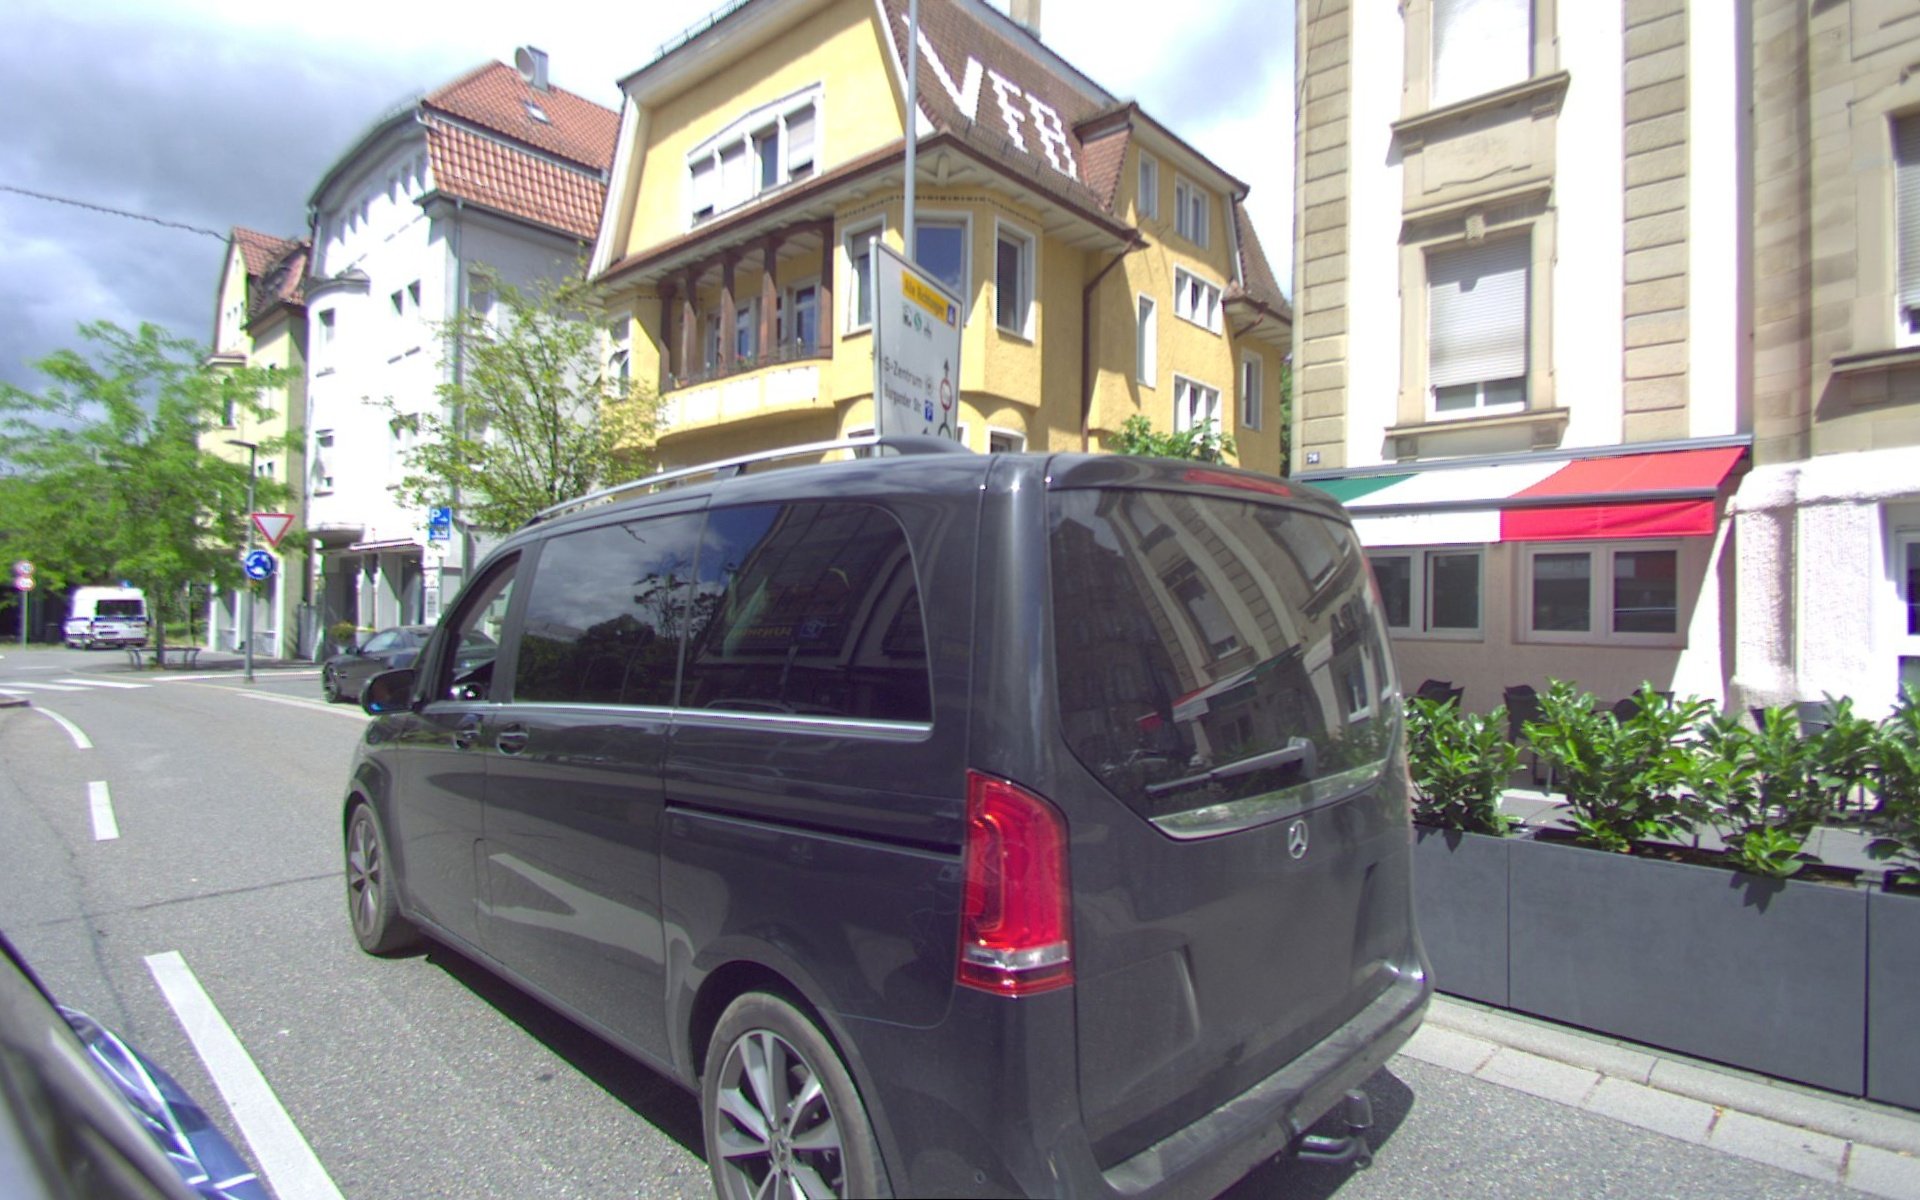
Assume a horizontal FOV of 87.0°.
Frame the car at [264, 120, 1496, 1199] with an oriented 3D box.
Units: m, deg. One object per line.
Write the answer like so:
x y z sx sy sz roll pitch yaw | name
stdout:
-1.027 0.355 3.949 5.178 1.948 1.850 -2 -3 45 | car

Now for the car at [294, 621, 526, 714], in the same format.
-8.937 1.024 16.293 4.461 1.314 1.700 -2 -2 39 | car

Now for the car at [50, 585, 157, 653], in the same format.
-36.539 0.748 43.066 7.263 2.692 2.280 0 0 40 | car
